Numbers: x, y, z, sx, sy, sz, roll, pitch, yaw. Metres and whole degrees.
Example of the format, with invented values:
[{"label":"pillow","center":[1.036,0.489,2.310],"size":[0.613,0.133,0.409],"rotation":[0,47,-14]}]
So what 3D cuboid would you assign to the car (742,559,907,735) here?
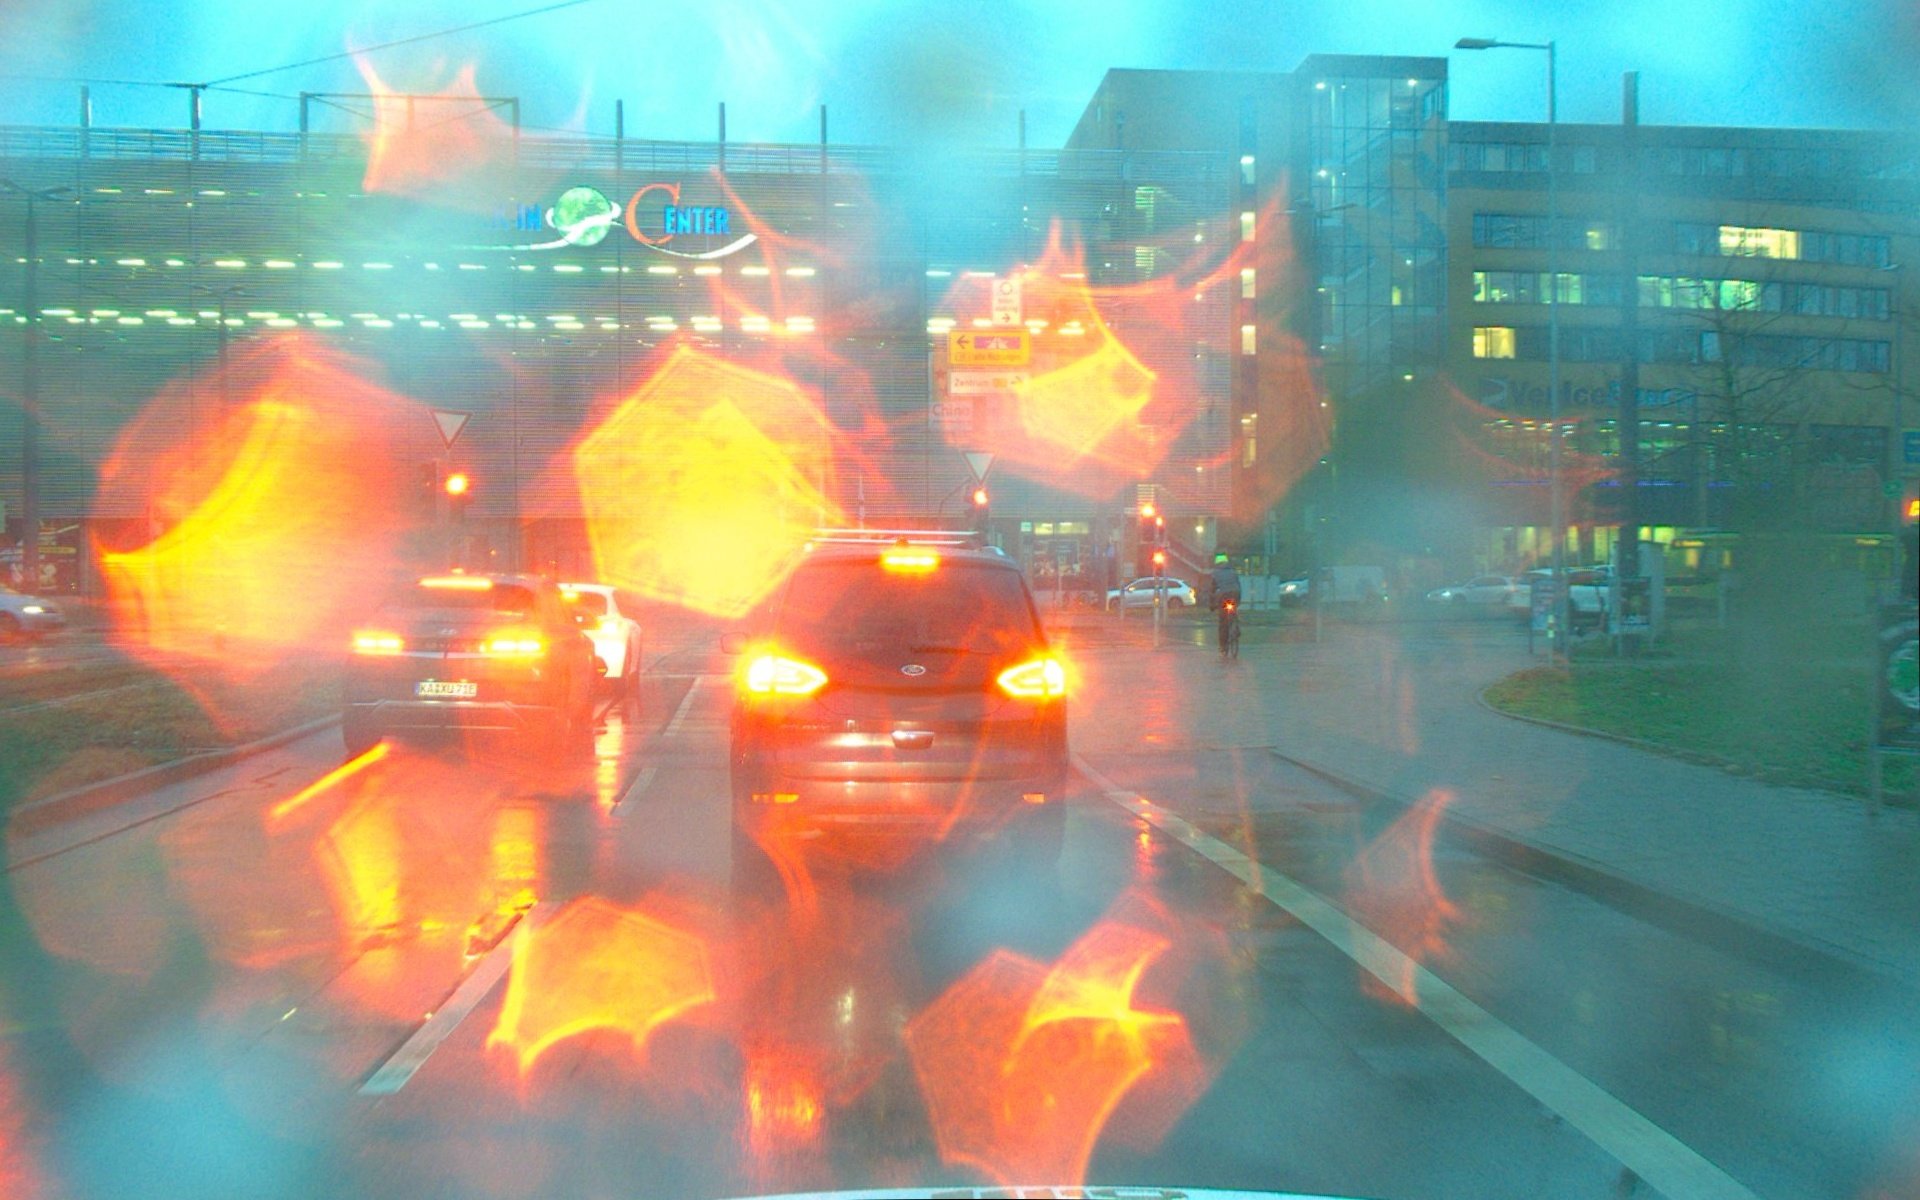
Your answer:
[{"label":"car","center":[-1.576,0.463,18.199],"size":[1.605,1.726,3.664],"rotation":[1,0,-8]}]

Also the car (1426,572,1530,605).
[{"label":"car","center":[23.250,-0.515,74.277],"size":[4.139,1.414,1.795],"rotation":[-1,0,-11]}]

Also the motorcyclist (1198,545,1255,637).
[{"label":"motorcyclist","center":[4.650,-0.162,28.932],"size":[0.850,1.561,1.108],"rotation":[0,0,2]}]

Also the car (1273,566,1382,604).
[{"label":"car","center":[16.072,-0.671,72.426],"size":[4.341,1.623,1.795],"rotation":[-1,0,-12]}]

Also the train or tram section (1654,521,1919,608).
[{"label":"train or tram section","center":[35.427,-1.476,66.732],"size":[16.352,3.317,2.324],"rotation":[-1,0,-19]}]

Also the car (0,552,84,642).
[{"label":"car","center":[-21.667,-0.044,36.247],"size":[3.921,1.907,1.992],"rotation":[-2,1,-15]}]

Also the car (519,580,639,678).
[{"label":"car","center":[-5.372,0.361,23.652],"size":[1.513,1.273,4.057],"rotation":[0,0,-11]}]

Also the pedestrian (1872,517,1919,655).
[{"label":"pedestrian","center":[14.054,-0.193,24.102],"size":[1.146,1.957,0.899],"rotation":[2,1,20]}]

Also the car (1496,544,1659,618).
[{"label":"car","center":[18.490,-0.571,49.566],"size":[4.290,2.048,1.989],"rotation":[2,1,-20]}]

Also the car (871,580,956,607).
[{"label":"car","center":[-2.142,-0.306,75.397],"size":[3.689,1.186,1.677],"rotation":[-1,0,-9]}]

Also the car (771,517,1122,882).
[{"label":"car","center":[-0.262,0.480,10.330],"size":[1.701,1.768,4.242],"rotation":[2,0,-6]}]

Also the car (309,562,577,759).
[{"label":"car","center":[-4.705,0.478,15.600],"size":[1.720,1.601,3.994],"rotation":[0,0,-7]}]

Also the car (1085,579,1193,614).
[{"label":"car","center":[7.714,-0.163,71.344],"size":[4.339,1.414,1.795],"rotation":[-1,0,-11]}]

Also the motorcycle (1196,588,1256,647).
[{"label":"motorcycle","center":[4.647,0.293,28.994],"size":[0.835,0.988,1.582],"rotation":[0,0,2]}]
